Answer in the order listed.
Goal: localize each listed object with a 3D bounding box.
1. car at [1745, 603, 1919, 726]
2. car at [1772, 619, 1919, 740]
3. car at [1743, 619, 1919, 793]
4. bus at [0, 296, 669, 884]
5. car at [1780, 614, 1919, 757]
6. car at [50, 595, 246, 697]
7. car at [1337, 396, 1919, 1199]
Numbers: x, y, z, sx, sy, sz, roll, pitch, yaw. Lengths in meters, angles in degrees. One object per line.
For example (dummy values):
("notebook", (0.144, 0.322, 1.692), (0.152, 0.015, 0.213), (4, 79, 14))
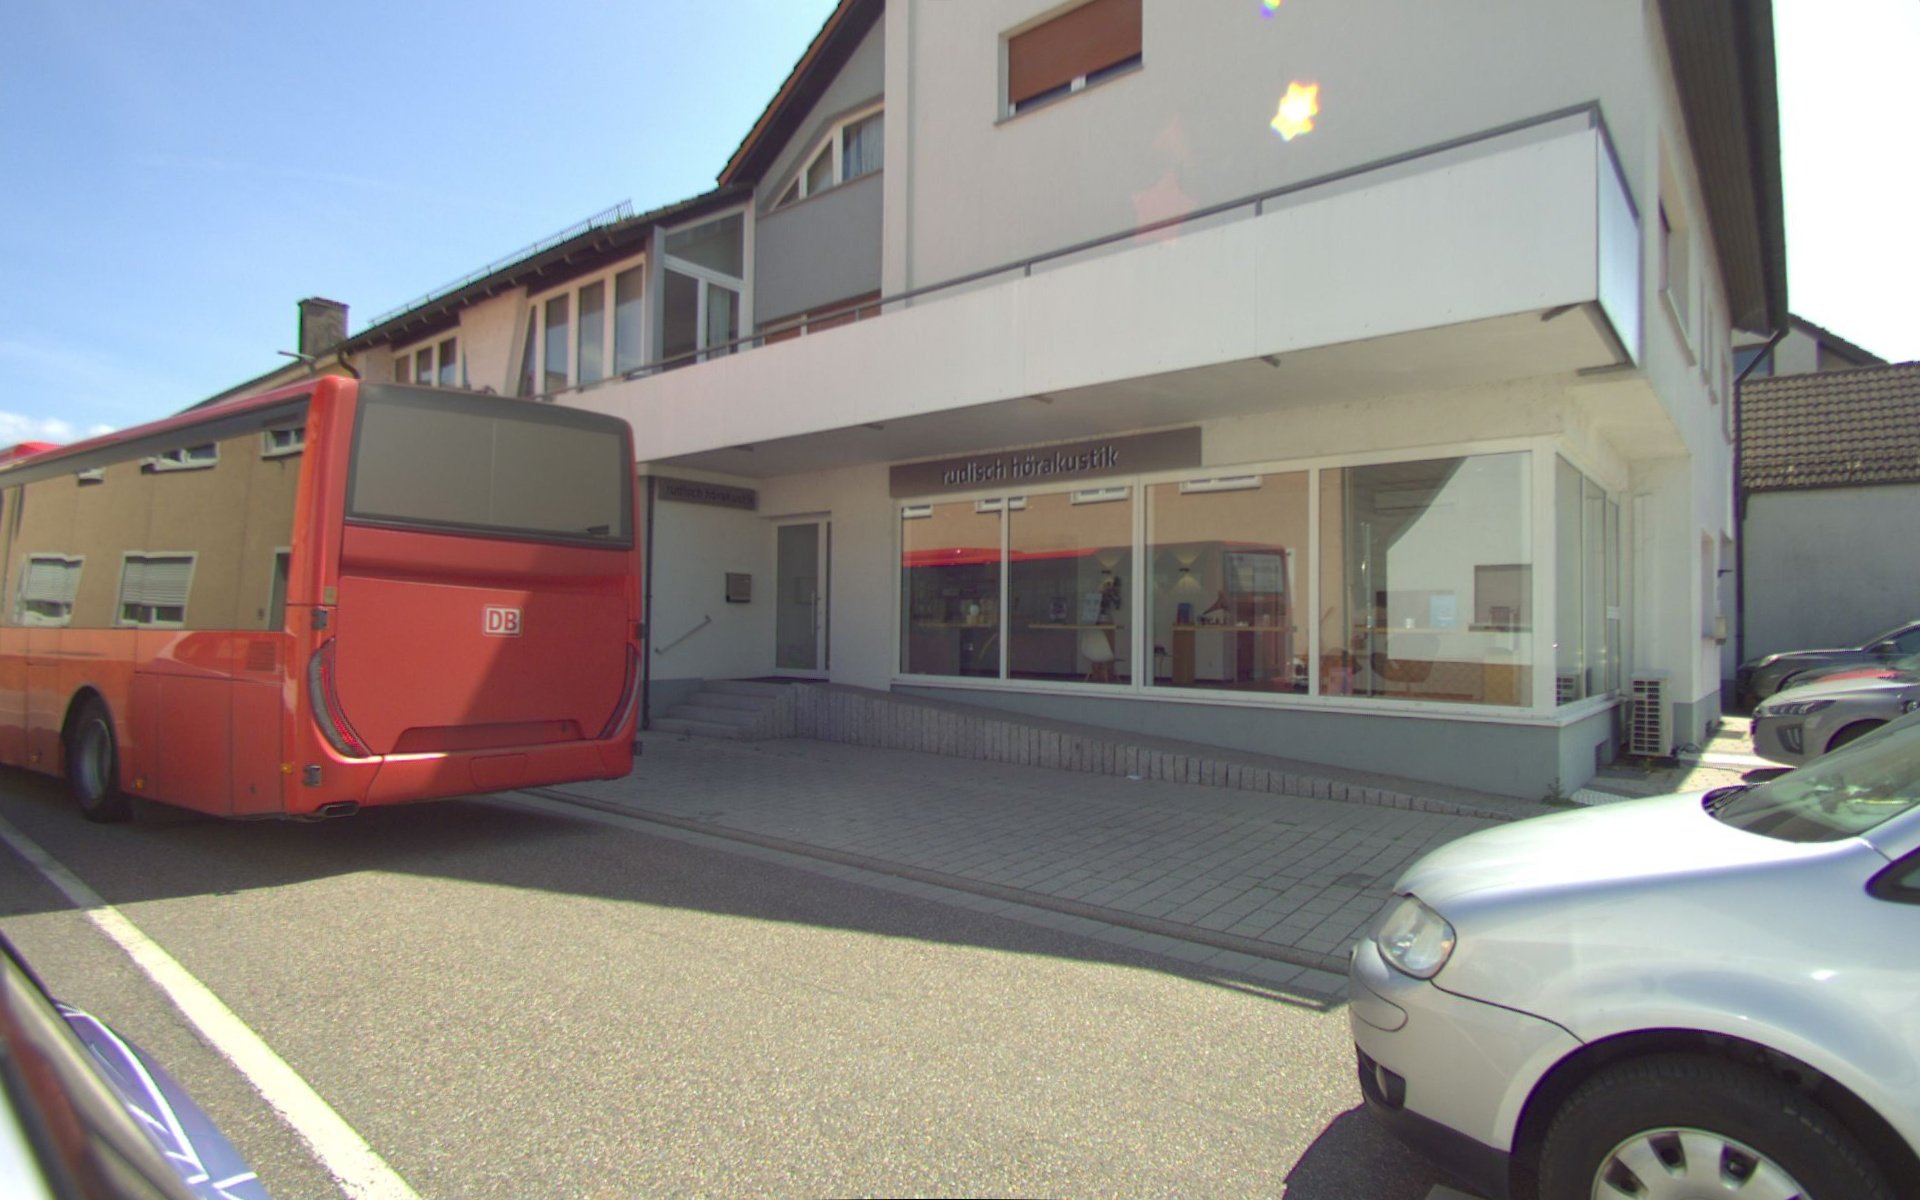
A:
("car", (14.633, 0.945, 14.989), (4.743, 1.752, 1.962), (0, -2, 38))
("car", (12.848, 0.983, 12.408), (4.473, 1.462, 1.812), (0, -1, 38))
("car", (9.492, 0.918, 8.609), (4.473, 1.462, 1.812), (0, -1, 38))
("bus", (-8.000, 0.051, 9.995), (11.987, 3.257, 2.605), (-1, -4, 33))
("car", (11.240, 0.907, 10.689), (3.959, 1.488, 1.730), (0, -2, 38))
("car", (-14.217, 0.730, 17.656), (3.994, 1.527, 1.728), (-1, 2, 38))
("car", (3.149, 0.591, 1.697), (4.433, 1.835, 1.756), (-1, -3, 36))
